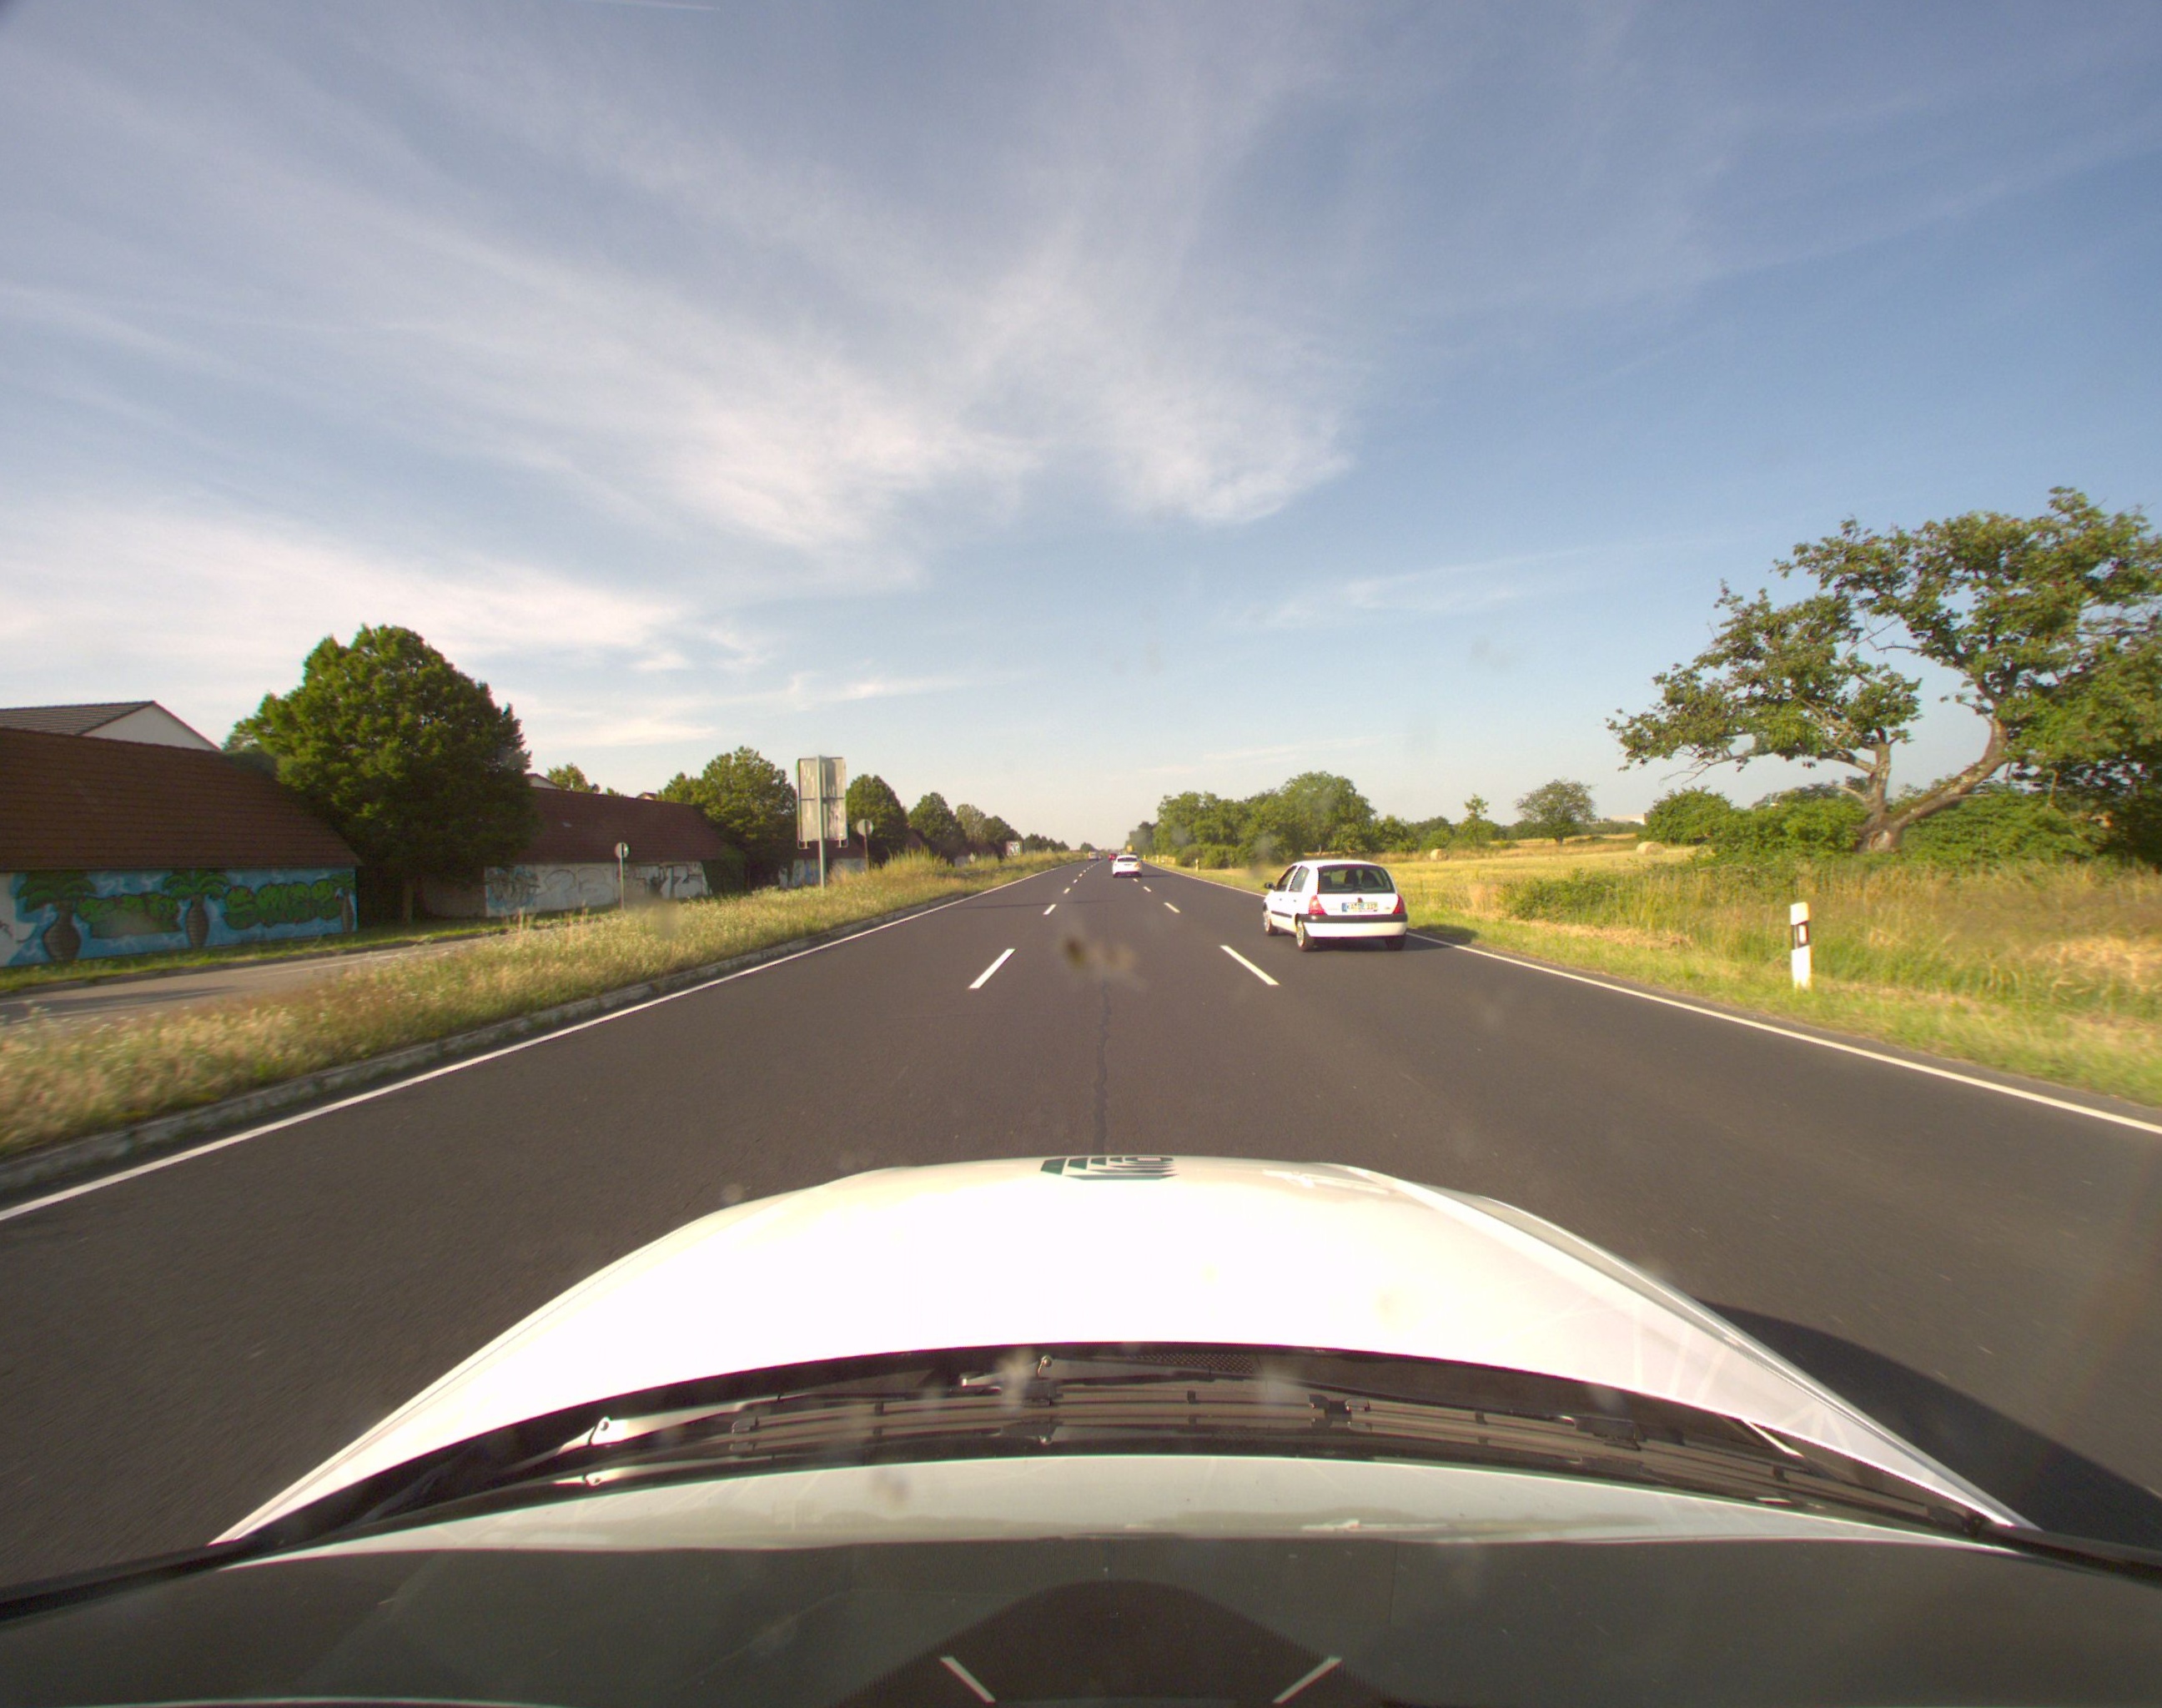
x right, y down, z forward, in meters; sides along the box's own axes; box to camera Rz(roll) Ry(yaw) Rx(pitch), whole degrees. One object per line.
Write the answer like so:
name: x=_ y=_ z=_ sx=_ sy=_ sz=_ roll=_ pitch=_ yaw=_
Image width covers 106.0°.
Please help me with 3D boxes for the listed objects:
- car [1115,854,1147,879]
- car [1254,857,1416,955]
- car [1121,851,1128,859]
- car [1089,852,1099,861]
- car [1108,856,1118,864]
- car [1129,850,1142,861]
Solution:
car: x=3.242 y=0.822 z=53.295 sx=1.986 sy=1.516 sz=4.002 roll=-1 pitch=-1 yaw=2
car: x=4.099 y=0.781 z=13.780 sx=1.611 sy=1.387 sz=3.953 roll=-1 pitch=-1 yaw=2
car: x=11.650 y=0.293 z=216.820 sx=1.795 sy=1.904 sz=3.562 roll=-1 pitch=-1 yaw=3
car: x=2.650 y=0.457 z=161.143 sx=1.750 sy=1.618 sz=4.004 roll=-1 pitch=-1 yaw=4
car: x=6.002 y=1.124 z=151.981 sx=1.805 sy=1.436 sz=3.859 roll=-1 pitch=-1 yaw=2
car: x=8.561 y=0.231 z=127.692 sx=1.821 sy=1.728 sz=4.002 roll=-1 pitch=-1 yaw=2
